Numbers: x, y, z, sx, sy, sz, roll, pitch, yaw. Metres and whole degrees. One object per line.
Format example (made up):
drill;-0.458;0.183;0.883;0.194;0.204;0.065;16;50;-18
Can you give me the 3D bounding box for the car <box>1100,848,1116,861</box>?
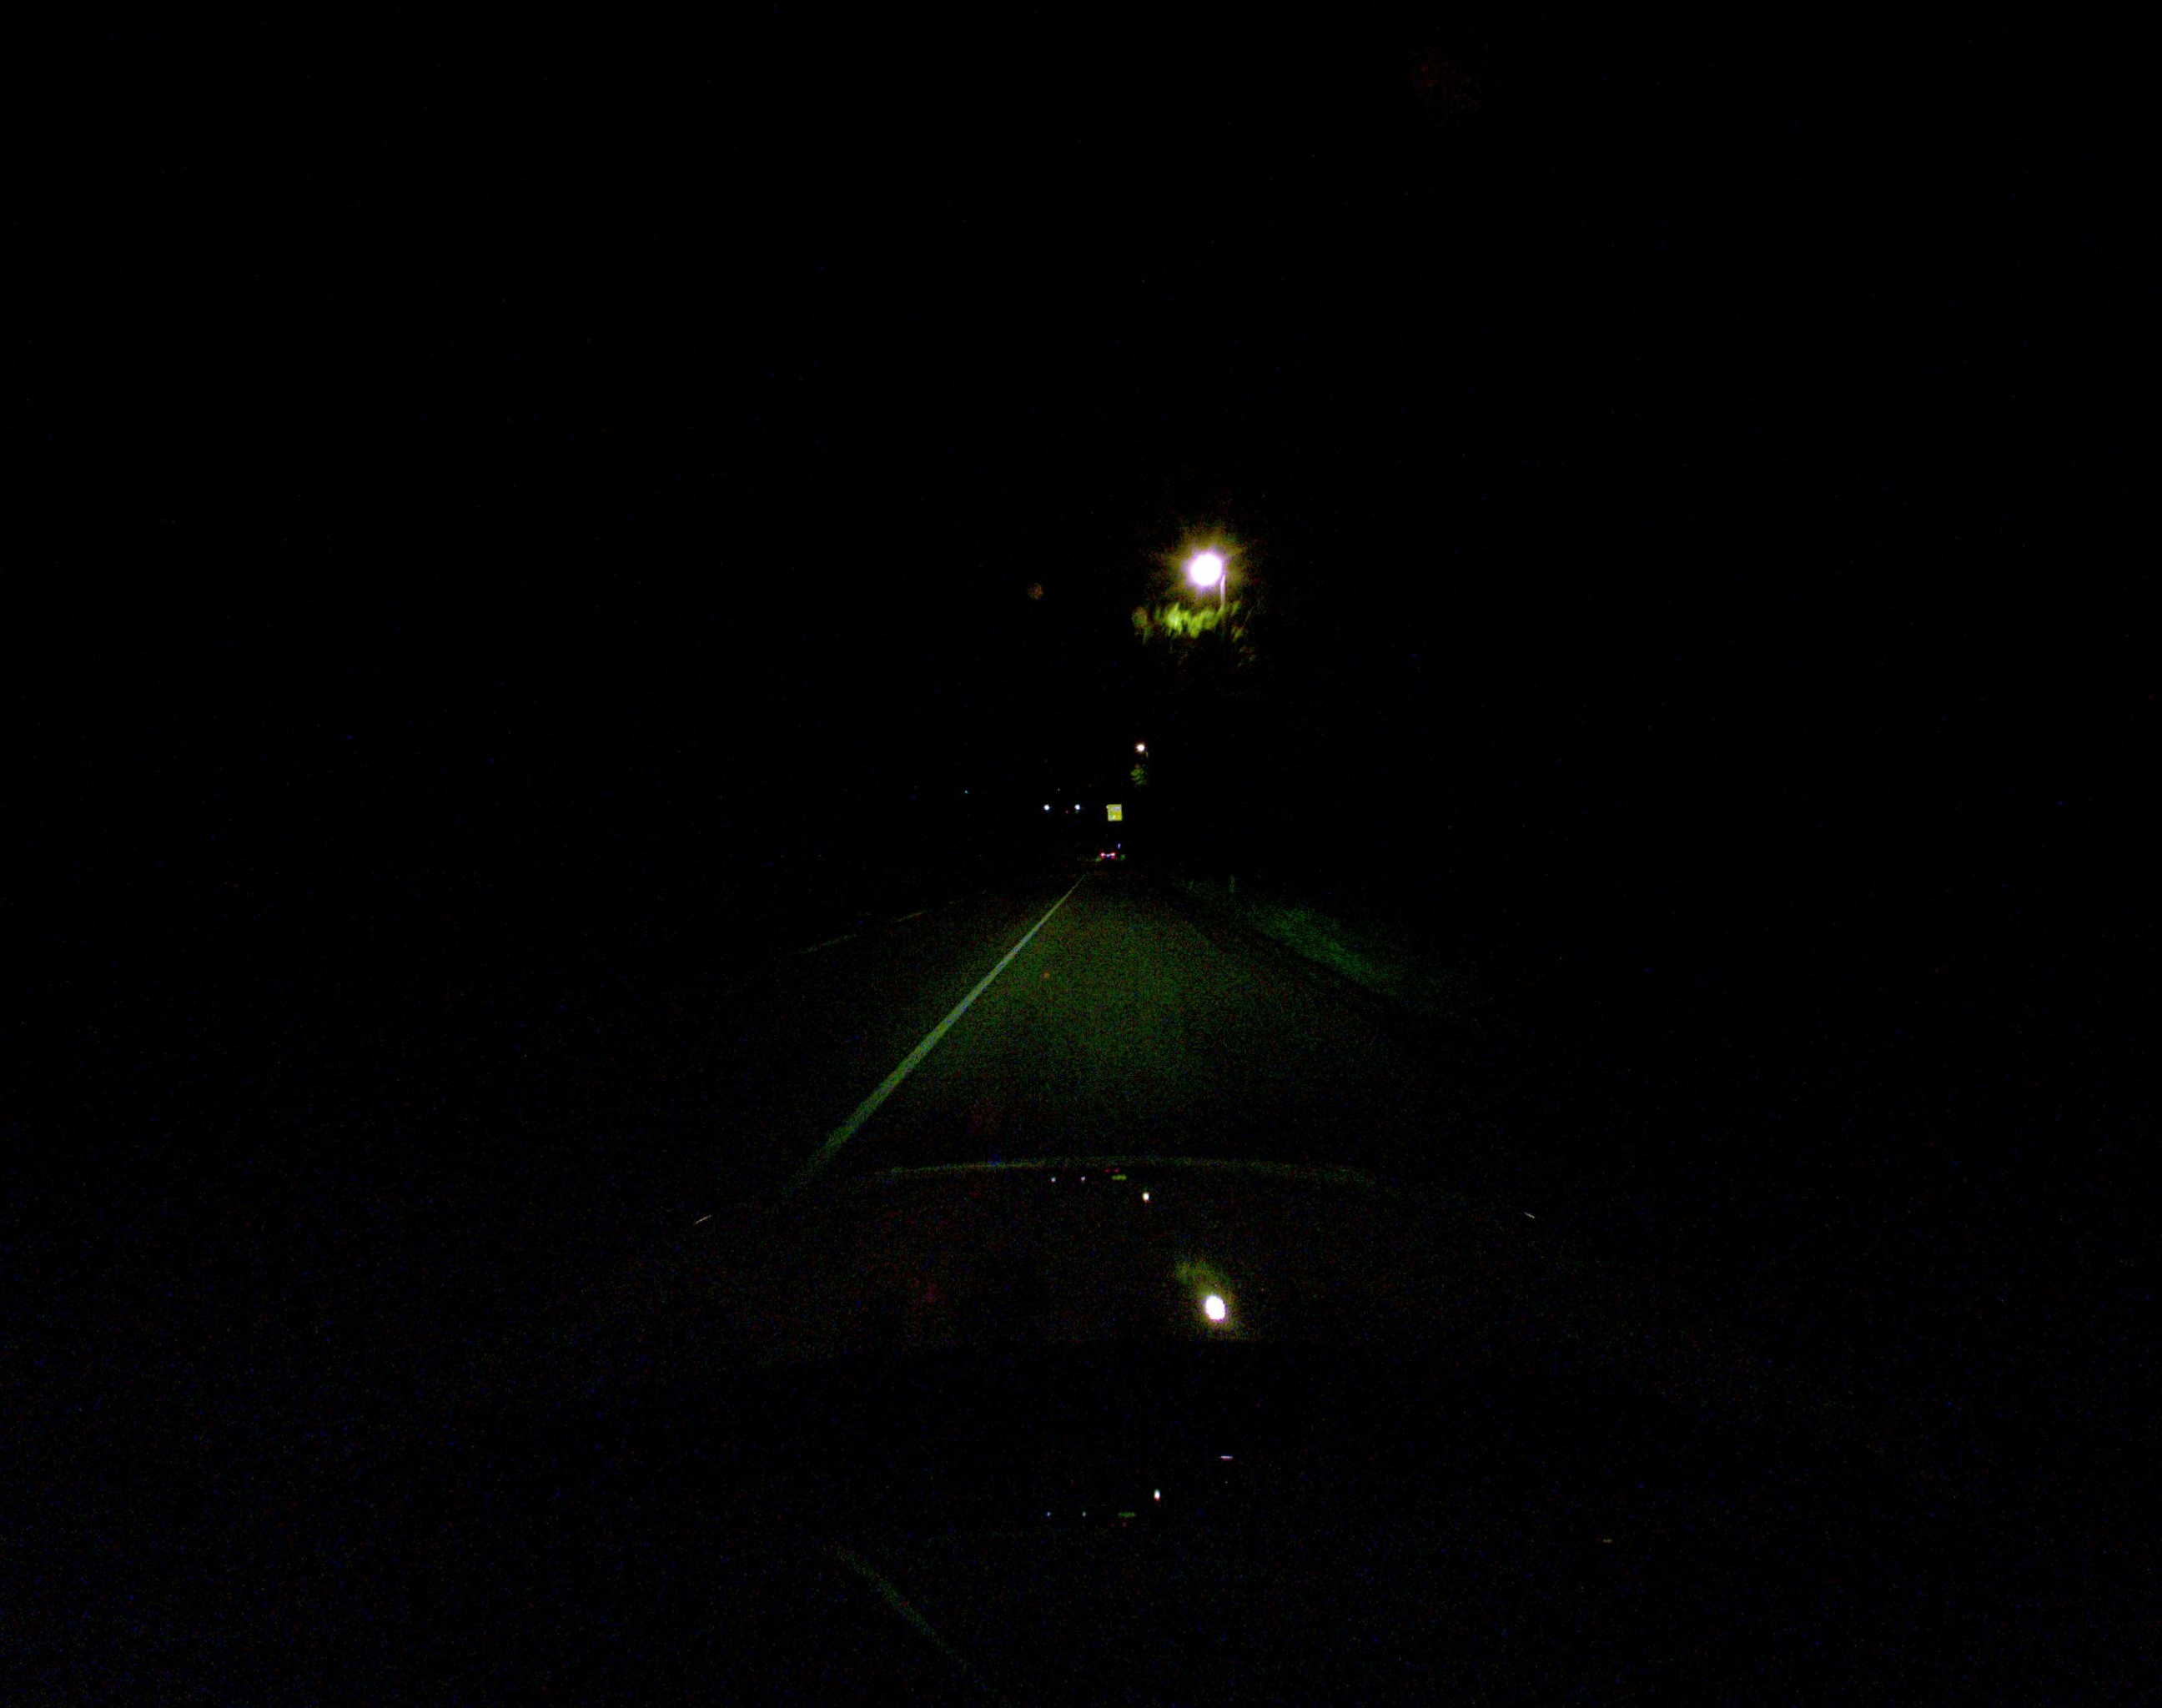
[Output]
car;3.521;0.024;106.835;1.754;1.641;3.731;-1;1;7
